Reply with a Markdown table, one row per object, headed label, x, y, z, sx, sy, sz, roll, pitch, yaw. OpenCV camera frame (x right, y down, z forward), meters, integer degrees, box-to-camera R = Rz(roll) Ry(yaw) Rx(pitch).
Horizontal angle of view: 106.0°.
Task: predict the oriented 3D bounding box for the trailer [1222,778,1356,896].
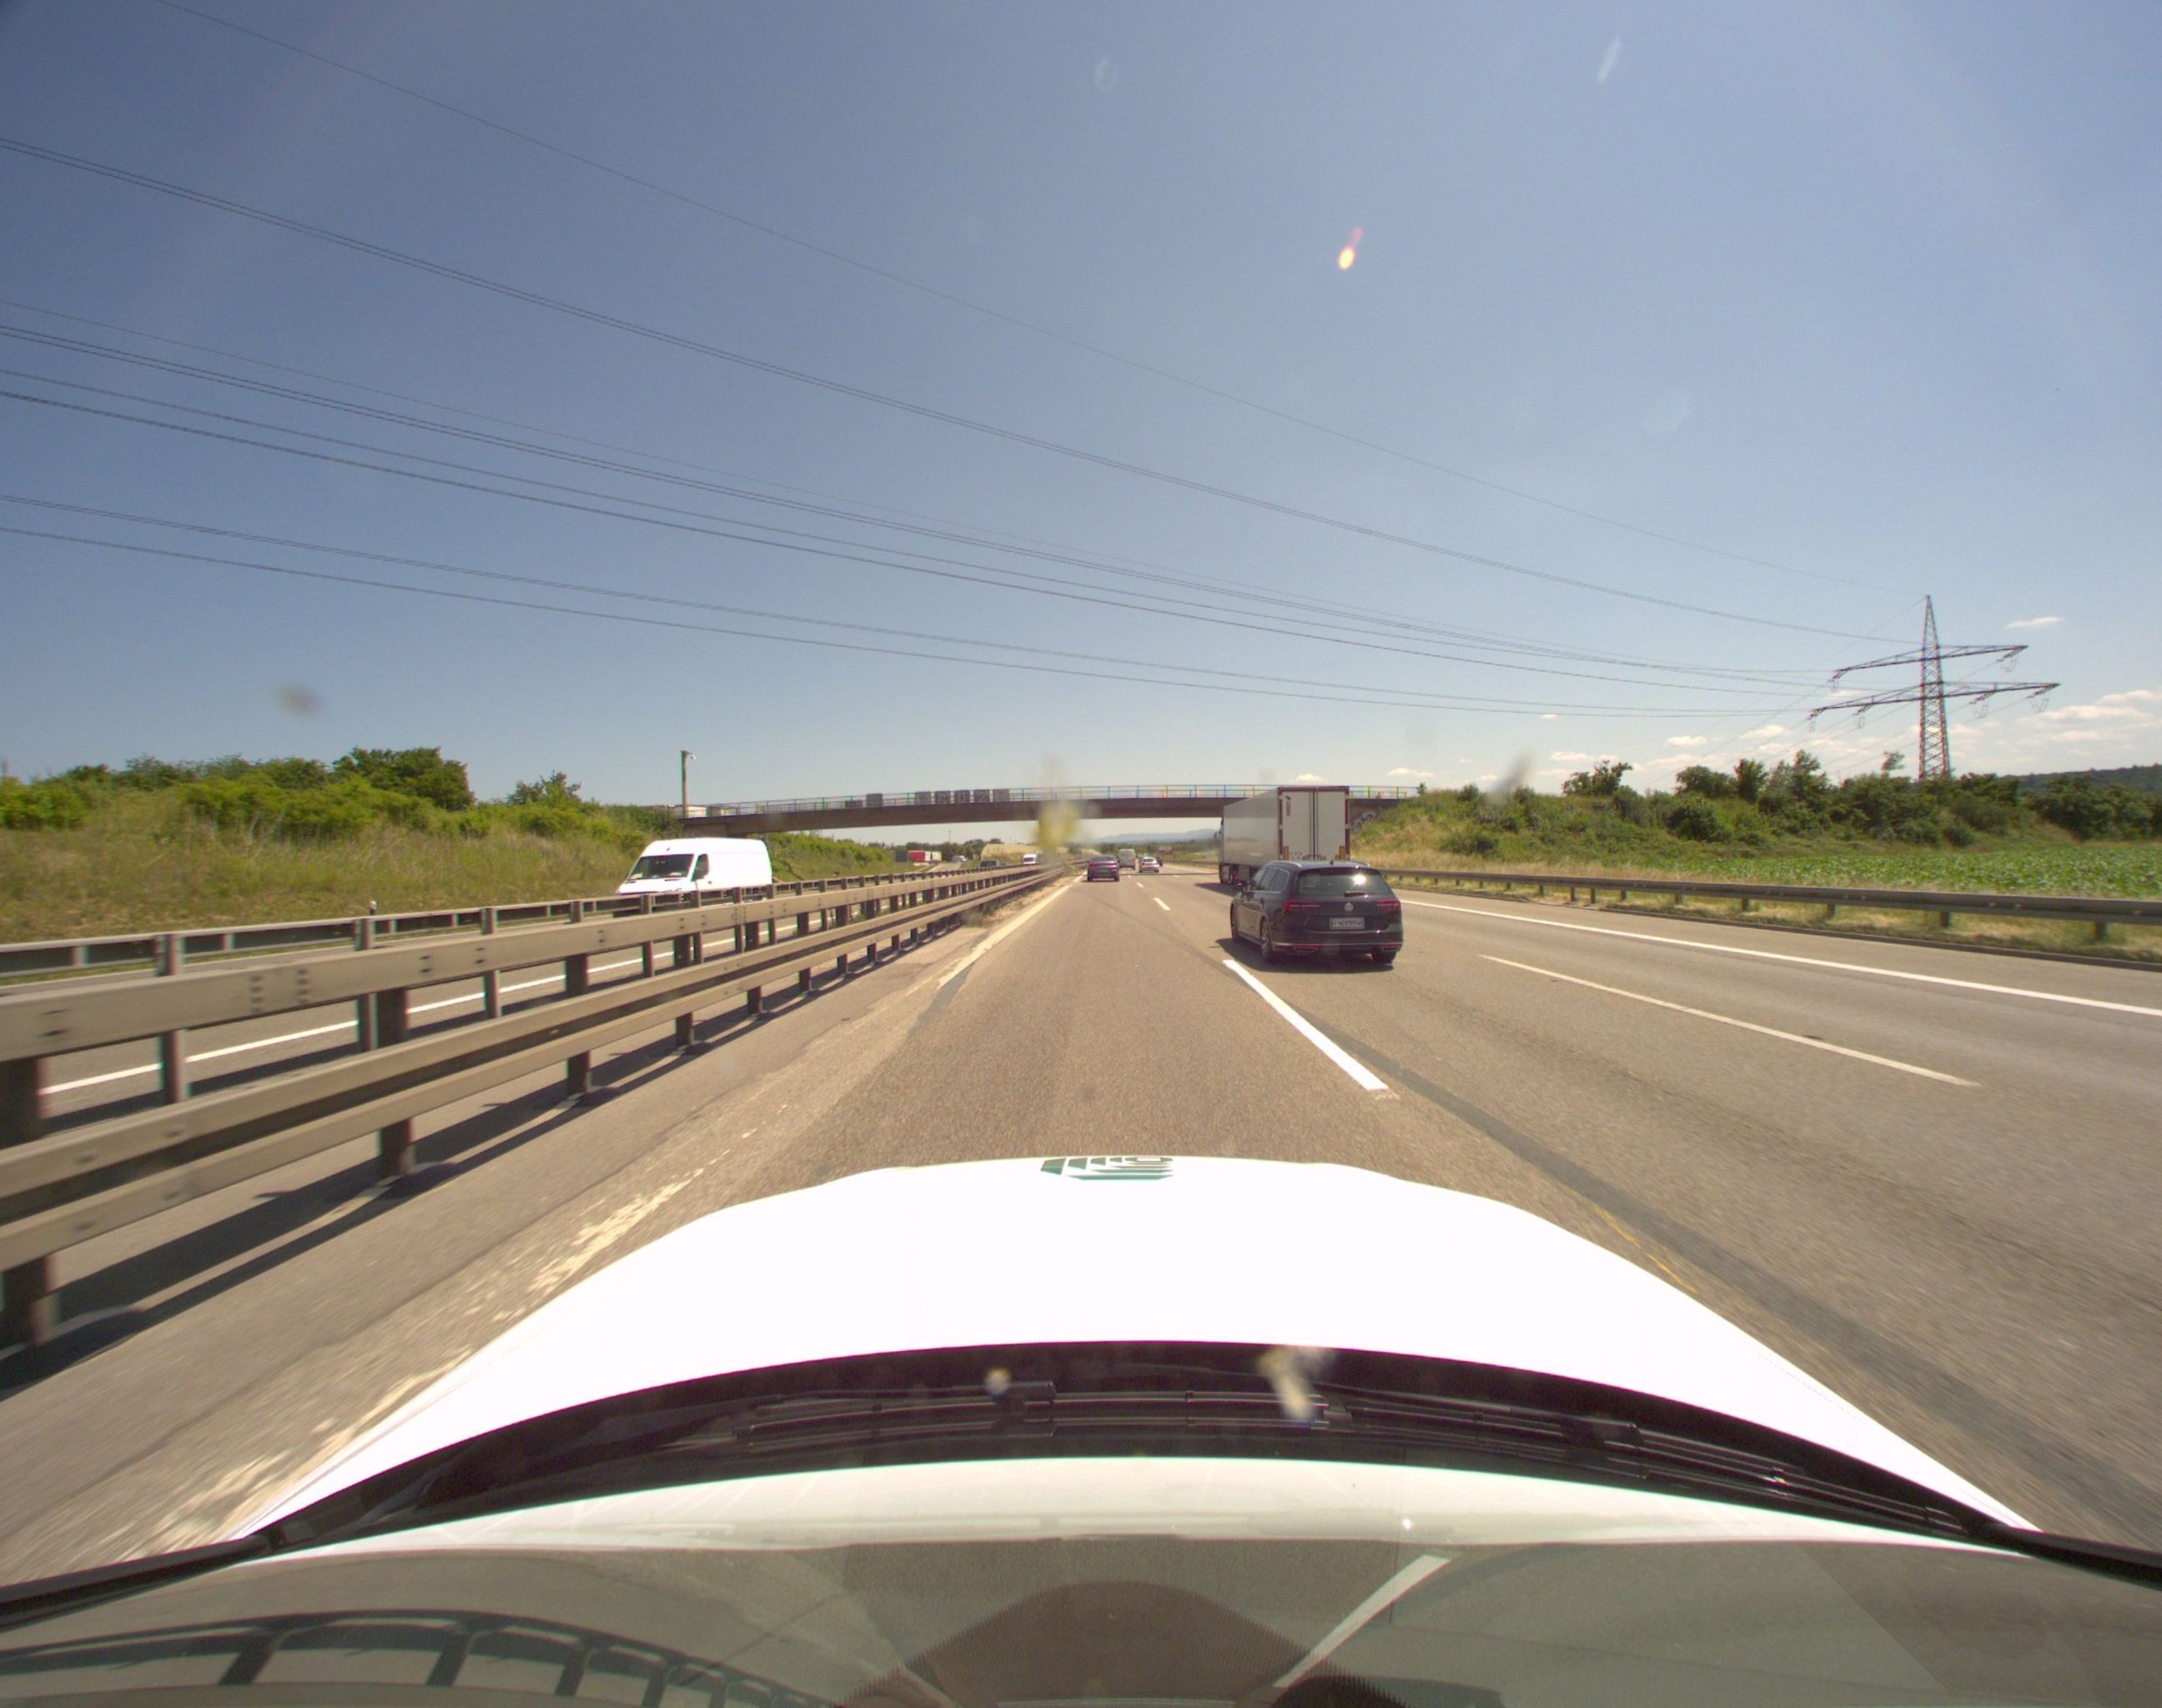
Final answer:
| label | x | y | z | sx | sy | sz | roll | pitch | yaw |
| --- | --- | --- | --- | --- | --- | --- | --- | --- | --- |
| trailer | 8.610 | -0.606 | 35.922 | 2.932 | 4.198 | 13.603 | 0 | 0 | 2 |

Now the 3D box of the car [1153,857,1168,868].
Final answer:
| label | x | y | z | sx | sy | sz | roll | pitch | yaw |
| --- | --- | --- | --- | --- | --- | --- | --- | --- | --- |
| car | 12.163 | 1.319 | 124.687 | 1.986 | 1.683 | 4.002 | 0 | 0 | 2 |

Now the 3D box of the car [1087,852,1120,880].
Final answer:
| label | x | y | z | sx | sy | sz | roll | pitch | yaw |
| --- | --- | --- | --- | --- | --- | --- | --- | --- | --- |
| car | 1.364 | 0.726 | 50.901 | 1.846 | 1.664 | 3.733 | 0 | 0 | -1 |

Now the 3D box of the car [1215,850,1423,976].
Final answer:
| label | x | y | z | sx | sy | sz | roll | pitch | yaw |
| --- | --- | --- | --- | --- | --- | --- | --- | --- | --- |
| car | 3.413 | 0.747 | 12.763 | 1.926 | 1.574 | 4.936 | 0 | 0 | 1 |

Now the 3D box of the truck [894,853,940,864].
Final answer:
| label | x | y | z | sx | sy | sz | roll | pitch | yaw |
| --- | --- | --- | --- | --- | --- | --- | --- | --- | --- |
| truck | -50.065 | 1.252 | 249.070 | 14.535 | 3.139 | 2.629 | 0 | 0 | -42 |

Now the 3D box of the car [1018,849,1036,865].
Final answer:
| label | x | y | z | sx | sy | sz | roll | pitch | yaw |
| --- | --- | --- | --- | --- | --- | --- | --- | --- | --- |
| car | -8.718 | 0.414 | 131.920 | 2.191 | 2.509 | 6.333 | 0 | 0 | 2 |

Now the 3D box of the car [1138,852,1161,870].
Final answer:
| label | x | y | z | sx | sy | sz | roll | pitch | yaw |
| --- | --- | --- | --- | --- | --- | --- | --- | --- | --- |
| car | 6.451 | 0.639 | 77.271 | 1.986 | 1.683 | 4.002 | 0 | 0 | 2 |

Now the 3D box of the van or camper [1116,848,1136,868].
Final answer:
| label | x | y | z | sx | sy | sz | roll | pitch | yaw |
| --- | --- | --- | --- | --- | --- | --- | --- | --- | --- |
| van or camper | 5.171 | 0.455 | 94.076 | 2.102 | 2.211 | 5.268 | 0 | 0 | 2 |

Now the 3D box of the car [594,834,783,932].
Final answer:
| label | x | y | z | sx | sy | sz | roll | pitch | yaw |
| --- | --- | --- | --- | --- | --- | --- | --- | --- | --- |
| car | -11.896 | 0.782 | 25.602 | 2.024 | 2.605 | 7.603 | 0 | 0 | 2 |

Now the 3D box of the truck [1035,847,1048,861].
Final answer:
| label | x | y | z | sx | sy | sz | roll | pitch | yaw |
| --- | --- | --- | --- | --- | --- | --- | --- | --- | --- |
| truck | -10.187 | -0.044 | 208.821 | 2.729 | 3.679 | 5.901 | 0 | 0 | 2 |

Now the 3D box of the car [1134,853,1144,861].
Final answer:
| label | x | y | z | sx | sy | sz | roll | pitch | yaw |
| --- | --- | --- | --- | --- | --- | --- | --- | --- | --- |
| car | 11.946 | 0.659 | 167.900 | 1.986 | 1.683 | 4.002 | 0 | 0 | 2 |

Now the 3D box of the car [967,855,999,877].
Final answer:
| label | x | y | z | sx | sy | sz | roll | pitch | yaw |
| --- | --- | --- | --- | --- | --- | --- | --- | --- | --- |
| car | -7.694 | 0.938 | 64.268 | 1.831 | 1.600 | 4.002 | -1 | 0 | 2 |

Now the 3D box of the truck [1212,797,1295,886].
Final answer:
| label | x | y | z | sx | sy | sz | roll | pitch | yaw |
| --- | --- | --- | --- | --- | --- | --- | --- | --- | --- |
| truck | 8.859 | -0.599 | 42.754 | 2.968 | 4.227 | 7.691 | 0 | 0 | 2 |

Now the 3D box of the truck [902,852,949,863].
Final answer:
| label | x | y | z | sx | sy | sz | roll | pitch | yaw |
| --- | --- | --- | --- | --- | --- | --- | --- | --- | --- |
| truck | -46.232 | 0.980 | 242.876 | 14.535 | 3.139 | 2.629 | 0 | 0 | -42 |
